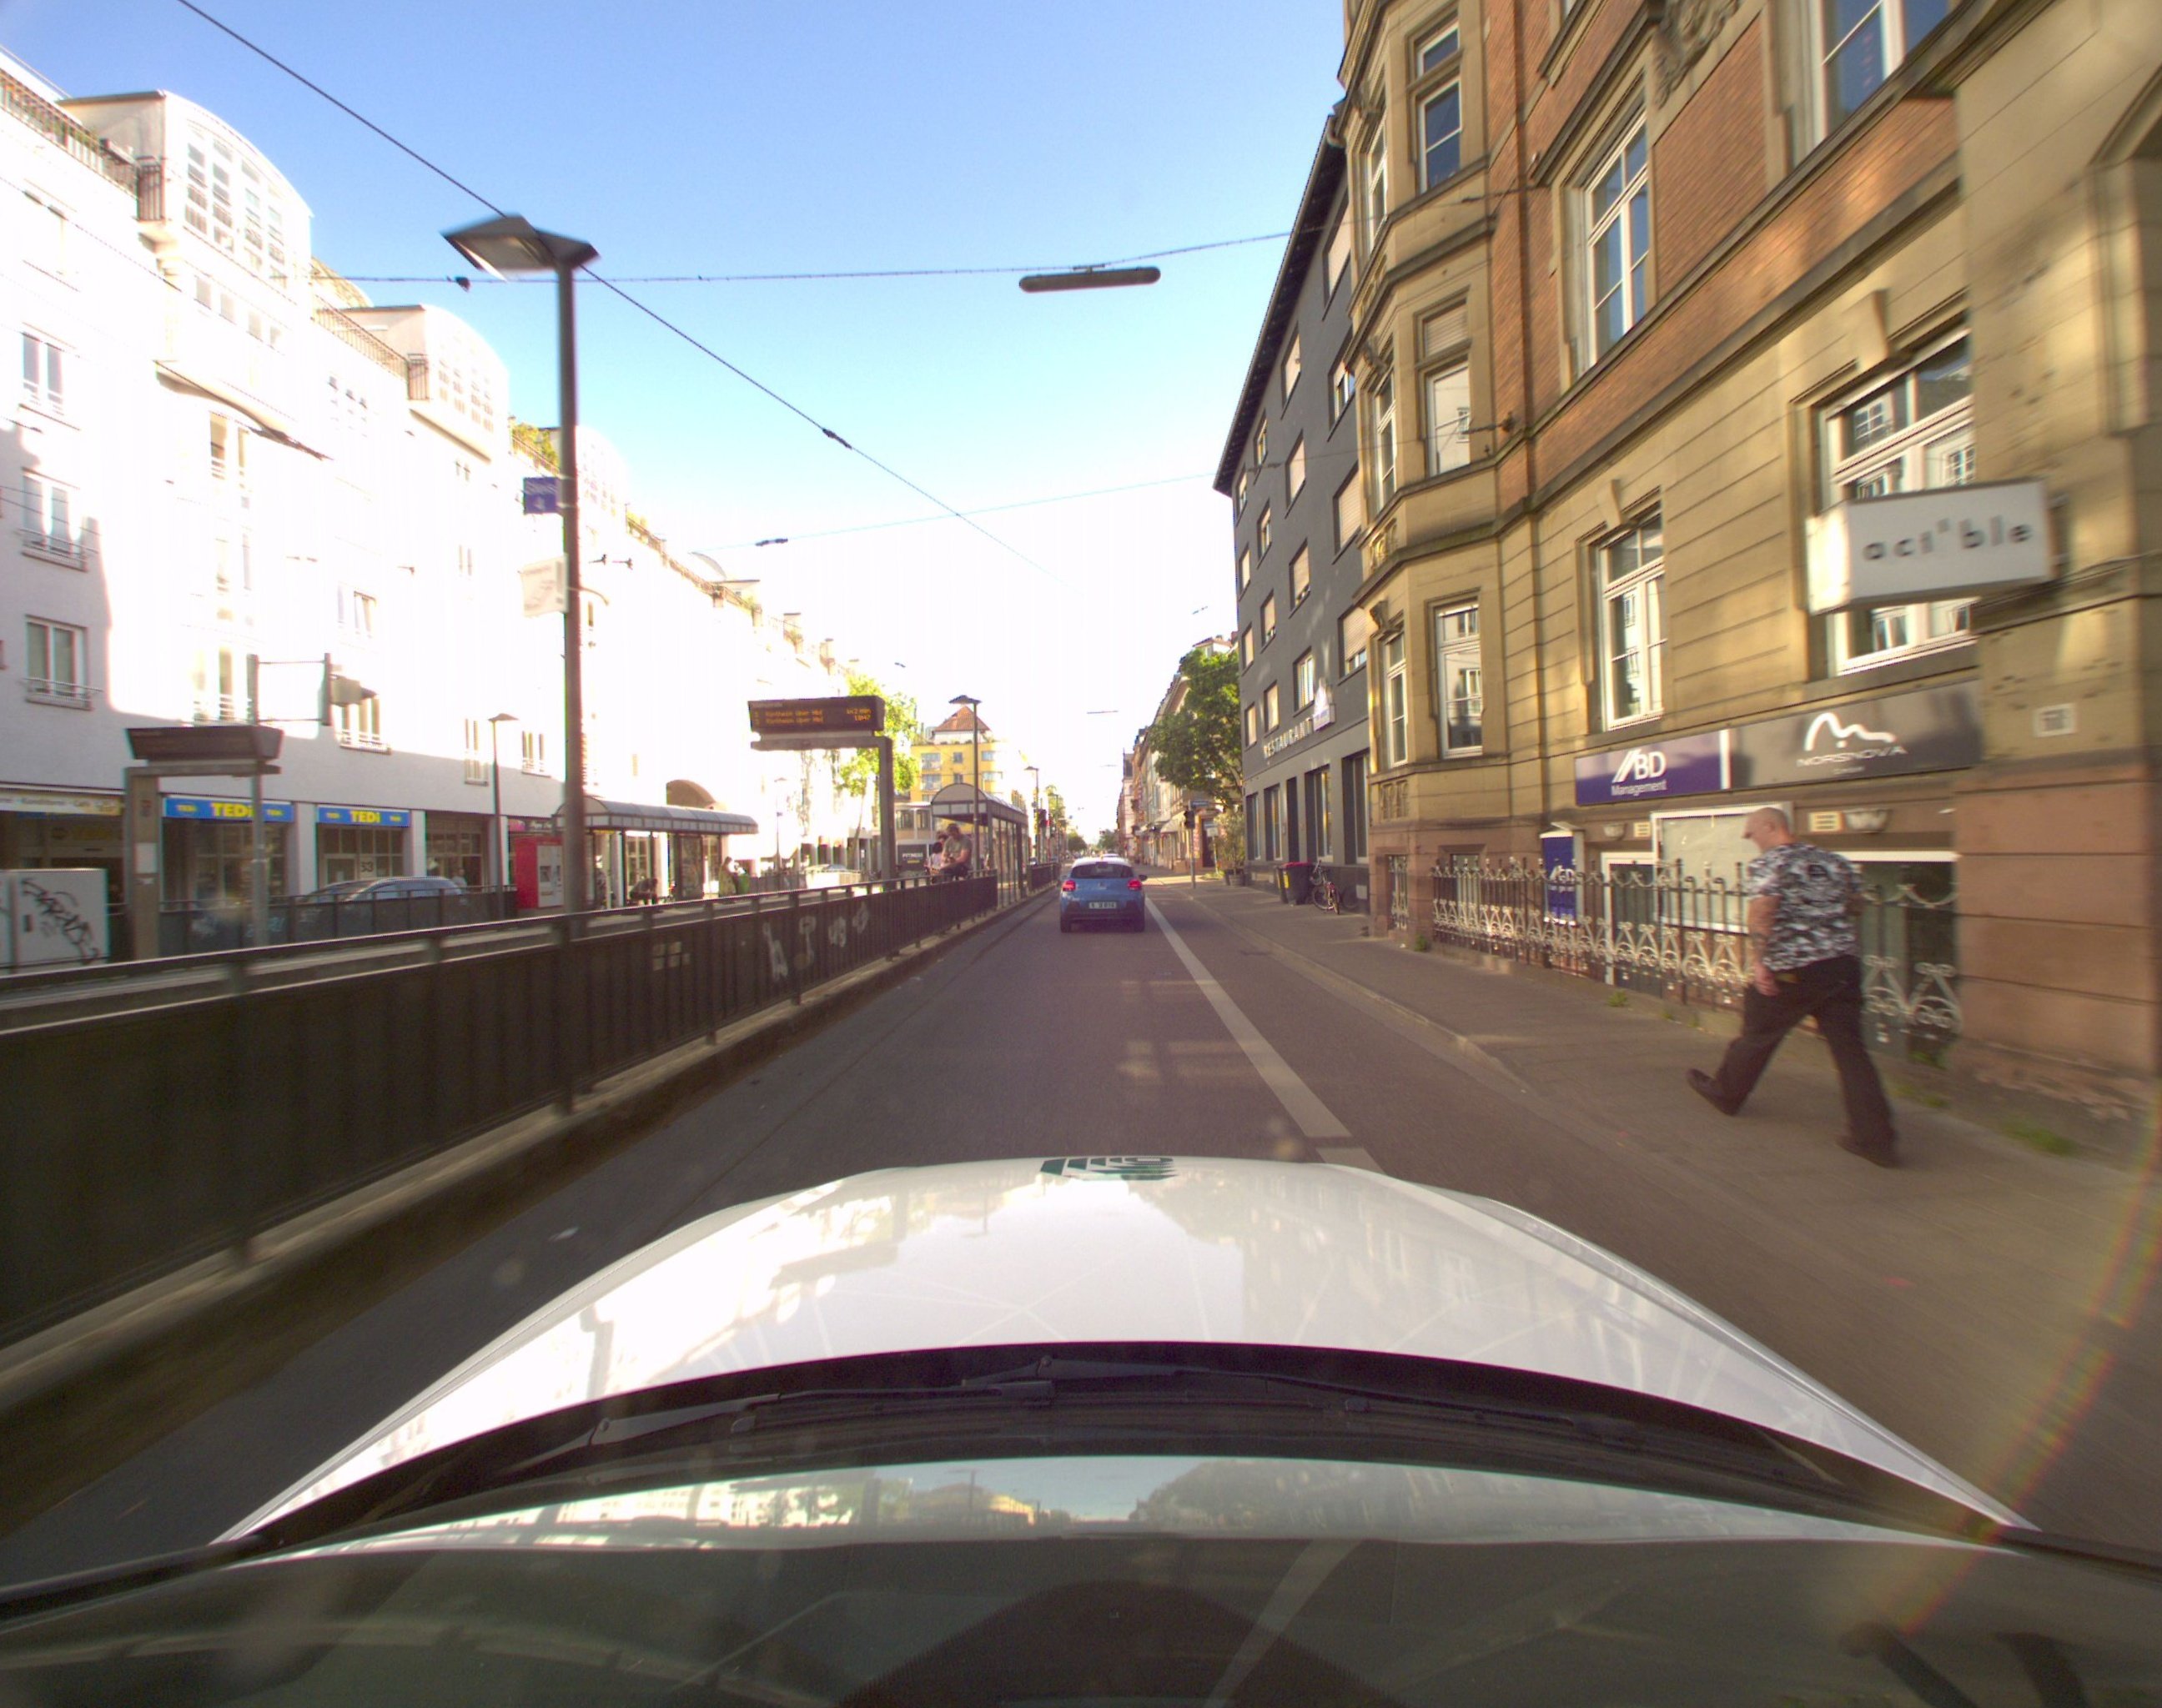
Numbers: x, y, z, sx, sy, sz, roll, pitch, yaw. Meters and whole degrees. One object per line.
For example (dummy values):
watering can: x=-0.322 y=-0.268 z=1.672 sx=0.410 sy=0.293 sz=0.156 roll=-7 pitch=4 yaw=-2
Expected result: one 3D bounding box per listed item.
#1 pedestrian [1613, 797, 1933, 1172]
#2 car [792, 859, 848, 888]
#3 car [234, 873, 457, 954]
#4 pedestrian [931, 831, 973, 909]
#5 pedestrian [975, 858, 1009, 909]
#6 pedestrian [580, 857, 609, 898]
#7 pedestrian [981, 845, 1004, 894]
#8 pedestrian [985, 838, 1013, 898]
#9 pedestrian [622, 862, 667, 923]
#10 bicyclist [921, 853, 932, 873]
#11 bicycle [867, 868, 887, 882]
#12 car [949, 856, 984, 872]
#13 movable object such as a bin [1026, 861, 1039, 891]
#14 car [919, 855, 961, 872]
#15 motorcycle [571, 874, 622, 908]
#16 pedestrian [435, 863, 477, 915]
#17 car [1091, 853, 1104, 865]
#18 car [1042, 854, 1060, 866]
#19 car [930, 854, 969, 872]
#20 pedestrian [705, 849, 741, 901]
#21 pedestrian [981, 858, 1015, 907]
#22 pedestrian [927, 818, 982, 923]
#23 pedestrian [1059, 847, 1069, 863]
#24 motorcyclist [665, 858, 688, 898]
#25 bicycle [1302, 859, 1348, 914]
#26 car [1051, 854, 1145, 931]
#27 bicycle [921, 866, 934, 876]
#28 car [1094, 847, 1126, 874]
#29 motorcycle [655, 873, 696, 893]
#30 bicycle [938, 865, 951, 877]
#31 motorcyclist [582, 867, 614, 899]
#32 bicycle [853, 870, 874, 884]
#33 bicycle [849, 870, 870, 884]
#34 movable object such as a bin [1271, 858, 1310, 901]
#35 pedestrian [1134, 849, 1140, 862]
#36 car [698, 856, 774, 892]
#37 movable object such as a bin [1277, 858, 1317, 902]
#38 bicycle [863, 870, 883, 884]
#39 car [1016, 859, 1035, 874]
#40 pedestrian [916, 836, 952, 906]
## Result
pedestrian: x=3.635 y=0.604 z=4.398 sx=0.777 sy=1.749 sz=1.093 roll=-2 pitch=1 yaw=-1
car: x=-14.190 y=1.030 z=44.437 sx=1.684 sy=1.421 sz=3.648 roll=-2 pitch=1 yaw=2
car: x=-16.746 y=1.287 z=18.803 sx=1.684 sy=1.509 sz=3.648 roll=-2 pitch=1 yaw=2
pedestrian: x=-3.004 y=0.378 z=18.973 sx=0.710 sy=1.777 sz=0.569 roll=-3 pitch=0 yaw=37
pedestrian: x=-2.315 y=0.753 z=21.155 sx=0.708 sy=1.272 sz=0.657 roll=-3 pitch=0 yaw=4
pedestrian: x=-19.927 y=0.944 z=33.385 sx=0.593 sy=1.621 sz=0.845 roll=-2 pitch=0 yaw=2
pedestrian: x=-2.901 y=0.498 z=26.711 sx=0.619 sy=1.558 sz=0.568 roll=-2 pitch=-1 yaw=2
pedestrian: x=-2.493 y=0.422 z=24.692 sx=0.566 sy=1.751 sz=0.713 roll=-2 pitch=0 yaw=-27
pedestrian: x=-11.473 y=0.995 z=21.442 sx=0.729 sy=1.527 sz=0.743 roll=-2 pitch=0 yaw=0
bicyclist: x=-12.370 y=0.700 z=65.279 sx=0.669 sy=1.557 sz=0.778 roll=-2 pitch=0 yaw=2
bicycle: x=-14.730 y=1.539 z=58.804 sx=0.387 sy=0.941 sz=1.505 roll=-3 pitch=0 yaw=37
car: x=-14.156 y=1.206 z=100.822 sx=3.977 sy=1.848 sz=1.956 roll=-2 pitch=0 yaw=-2
movable object such as a bin: x=-1.672 y=0.751 z=28.080 sx=0.345 sy=1.007 sz=0.404 roll=-2 pitch=0 yaw=3
car: x=-14.699 y=1.000 z=85.198 sx=3.977 sy=1.674 sz=1.956 roll=-2 pitch=0 yaw=-2
motorcycle: x=-16.335 y=1.228 z=27.497 sx=0.556 sy=1.074 sz=1.846 roll=-1 pitch=-1 yaw=3
pedestrian: x=-20.025 y=1.114 z=26.101 sx=0.840 sy=1.621 sz=0.596 roll=-2 pitch=0 yaw=-3
car: x=2.537 y=0.788 z=123.497 sx=1.986 sy=1.743 sz=4.001 roll=-1 pitch=-1 yaw=2
car: x=-4.059 y=0.820 z=110.350 sx=1.943 sy=1.486 sz=4.004 roll=-4 pitch=0 yaw=3
car: x=-14.432 y=0.975 z=89.725 sx=3.977 sy=1.848 sz=1.956 roll=-2 pitch=0 yaw=-2
pedestrian: x=-11.131 y=0.643 z=25.358 sx=0.729 sy=1.559 sz=0.743 roll=-2 pitch=0 yaw=0
pedestrian: x=-2.254 y=0.765 z=22.139 sx=0.761 sy=1.272 sz=0.720 roll=-3 pitch=0 yaw=4
pedestrian: x=-2.114 y=0.275 z=13.705 sx=0.633 sy=1.698 sz=0.935 roll=-1 pitch=-1 yaw=9
pedestrian: x=-1.846 y=0.126 z=88.573 sx=0.842 sy=1.654 sz=0.691 roll=-2 pitch=0 yaw=-27
motorcyclist: x=-15.362 y=0.894 z=30.939 sx=0.485 sy=1.502 sz=0.722 roll=-1 pitch=-1 yaw=2
bicycle: x=5.298 y=0.677 z=17.760 sx=0.457 sy=1.123 sz=1.774 roll=-4 pitch=0 yaw=2
car: x=0.380 y=0.734 z=17.272 sx=1.774 sy=1.451 sz=3.655 roll=-1 pitch=0 yaw=2
bicycle: x=-12.326 y=1.373 z=65.244 sx=0.564 sy=0.757 sz=1.939 roll=-2 pitch=0 yaw=3
car: x=1.925 y=0.446 z=54.357 sx=1.986 sy=1.743 sz=4.001 roll=-1 pitch=-1 yaw=2
motorcycle: x=-15.365 y=1.104 z=30.921 sx=0.491 sy=0.720 sz=2.007 roll=-1 pitch=-1 yaw=3
bicycle: x=-13.111 y=1.614 z=78.424 sx=0.677 sy=1.002 sz=2.688 roll=-2 pitch=0 yaw=3
motorcyclist: x=-16.358 y=0.976 z=27.579 sx=0.556 sy=1.074 sz=0.828 roll=-1 pitch=-1 yaw=2
bicycle: x=-15.302 y=1.616 z=57.291 sx=0.387 sy=0.941 sz=1.505 roll=-3 pitch=0 yaw=37
bicycle: x=-15.626 y=1.623 z=57.536 sx=0.387 sy=0.941 sz=1.505 roll=-3 pitch=0 yaw=37
movable object such as a bin: x=5.498 y=0.658 z=21.397 sx=0.745 sy=1.036 sz=0.754 roll=-6 pitch=-1 yaw=2
pedestrian: x=7.224 y=0.157 z=104.326 sx=0.690 sy=1.651 sz=0.680 roll=-2 pitch=0 yaw=1
car: x=-15.592 y=0.878 z=37.002 sx=1.684 sy=1.421 sz=3.648 roll=-2 pitch=1 yaw=2
movable object such as a bin: x=5.463 y=0.652 z=20.634 sx=0.745 sy=1.036 sz=0.754 roll=-6 pitch=-1 yaw=2
bicycle: x=-15.082 y=1.679 z=59.085 sx=0.387 sy=0.941 sz=1.505 roll=-3 pitch=0 yaw=37
car: x=-6.499 y=1.400 z=95.596 sx=1.747 sy=1.615 sz=4.826 roll=-4 pitch=0 yaw=-1
pedestrian: x=-3.355 y=0.383 z=18.545 sx=0.579 sy=1.562 sz=0.473 roll=-3 pitch=0 yaw=37
